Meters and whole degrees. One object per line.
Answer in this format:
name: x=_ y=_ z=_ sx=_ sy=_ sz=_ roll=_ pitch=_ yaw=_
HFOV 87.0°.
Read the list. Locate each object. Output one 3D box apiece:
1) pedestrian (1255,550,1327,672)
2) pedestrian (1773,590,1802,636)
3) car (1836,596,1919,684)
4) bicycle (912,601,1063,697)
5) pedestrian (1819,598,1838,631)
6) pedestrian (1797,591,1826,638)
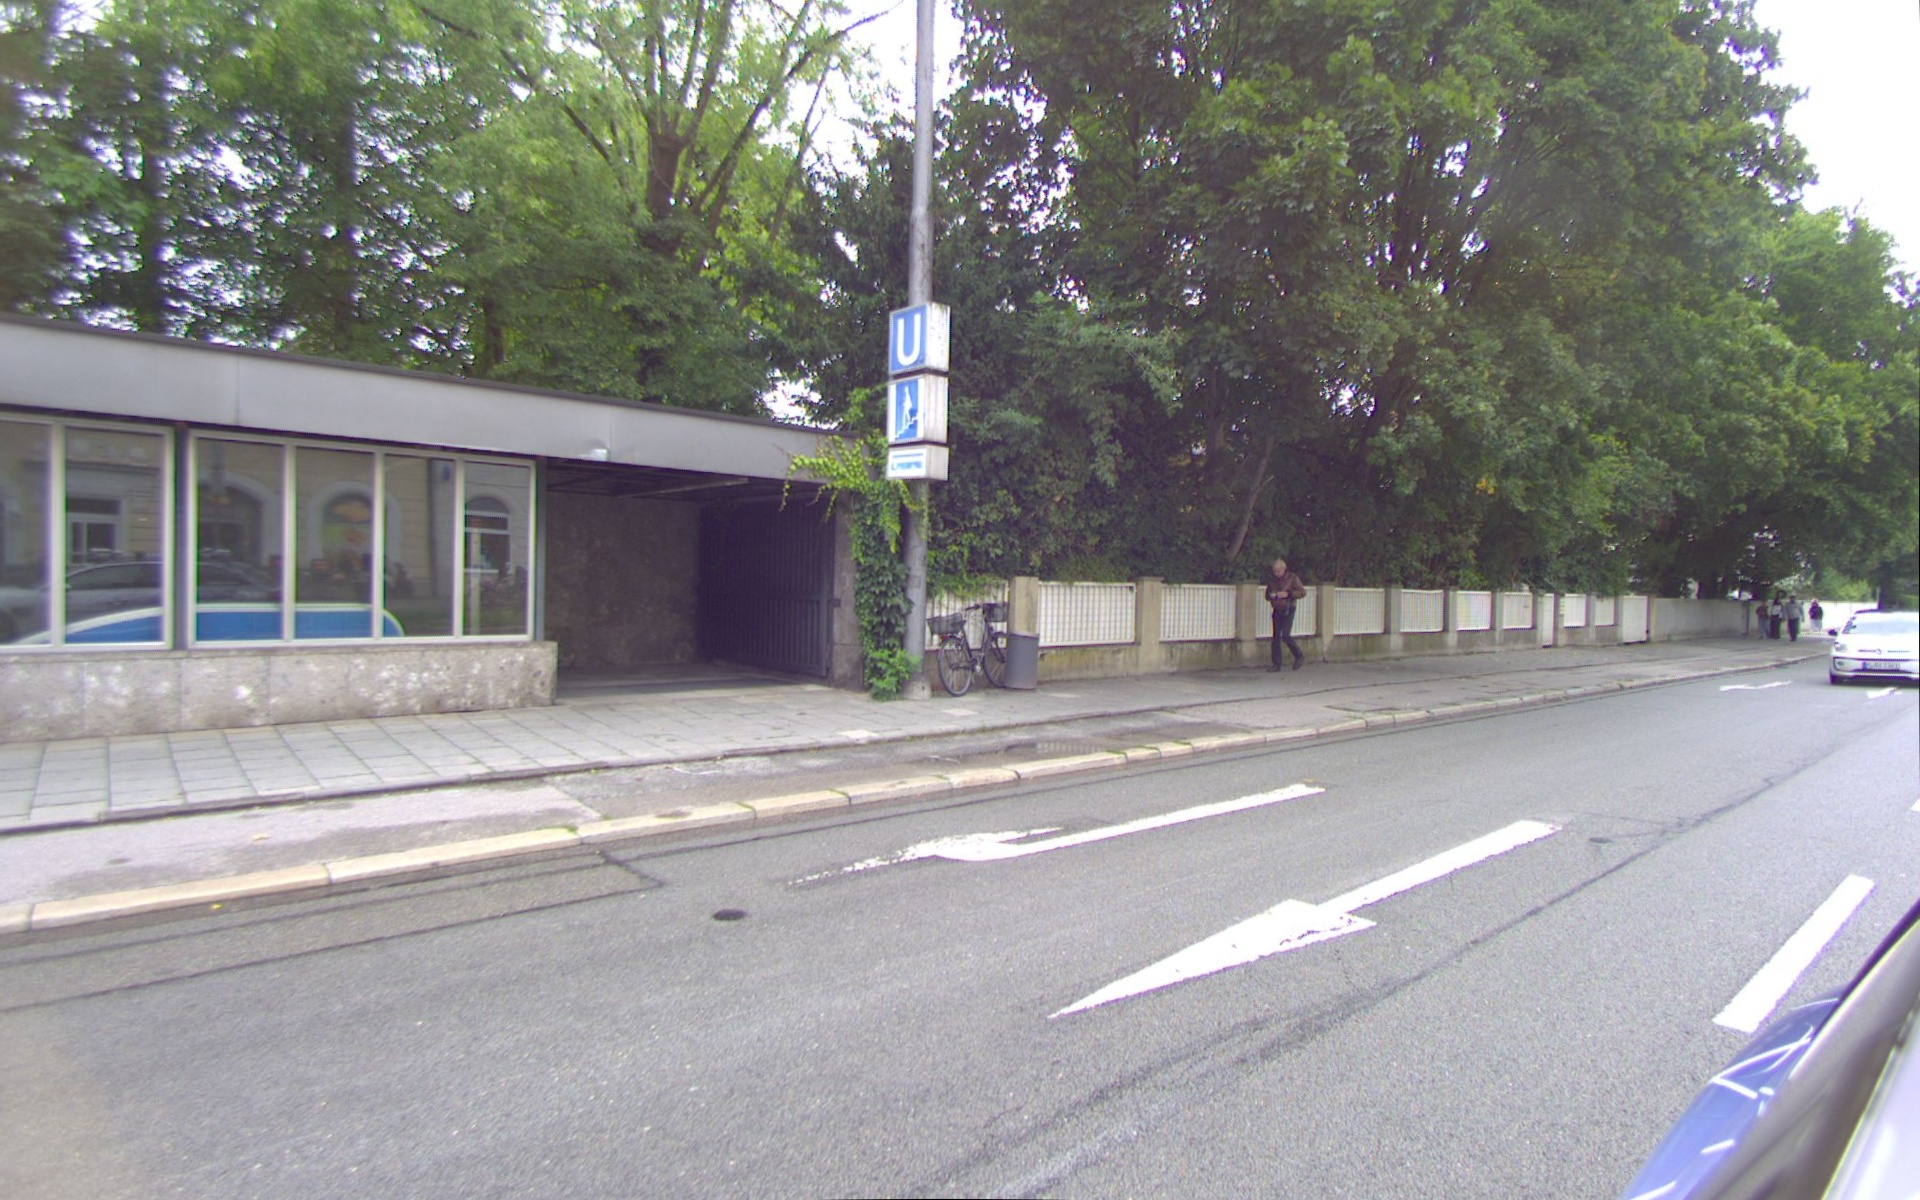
pedestrian: x=5.565 y=0.167 z=17.024 sx=0.788 sy=1.966 sz=0.779 roll=1 pitch=2 yaw=-40
pedestrian: x=31.968 y=0.482 z=39.116 sx=0.753 sy=1.726 sz=0.667 roll=1 pitch=3 yaw=-42
car: x=18.662 y=0.733 z=19.954 sx=3.524 sy=1.581 sz=1.645 roll=0 pitch=1 yaw=-42
bicycle: x=0.372 y=0.579 z=12.705 sx=1.990 sy=1.104 sz=0.623 roll=0 pitch=1 yaw=-41
pedestrian: x=42.970 y=0.698 z=50.059 sx=0.716 sy=1.600 sz=0.529 roll=1 pitch=3 yaw=-42
pedestrian: x=32.450 y=0.546 z=38.557 sx=0.716 sy=1.713 sz=0.667 roll=1 pitch=3 yaw=-42
